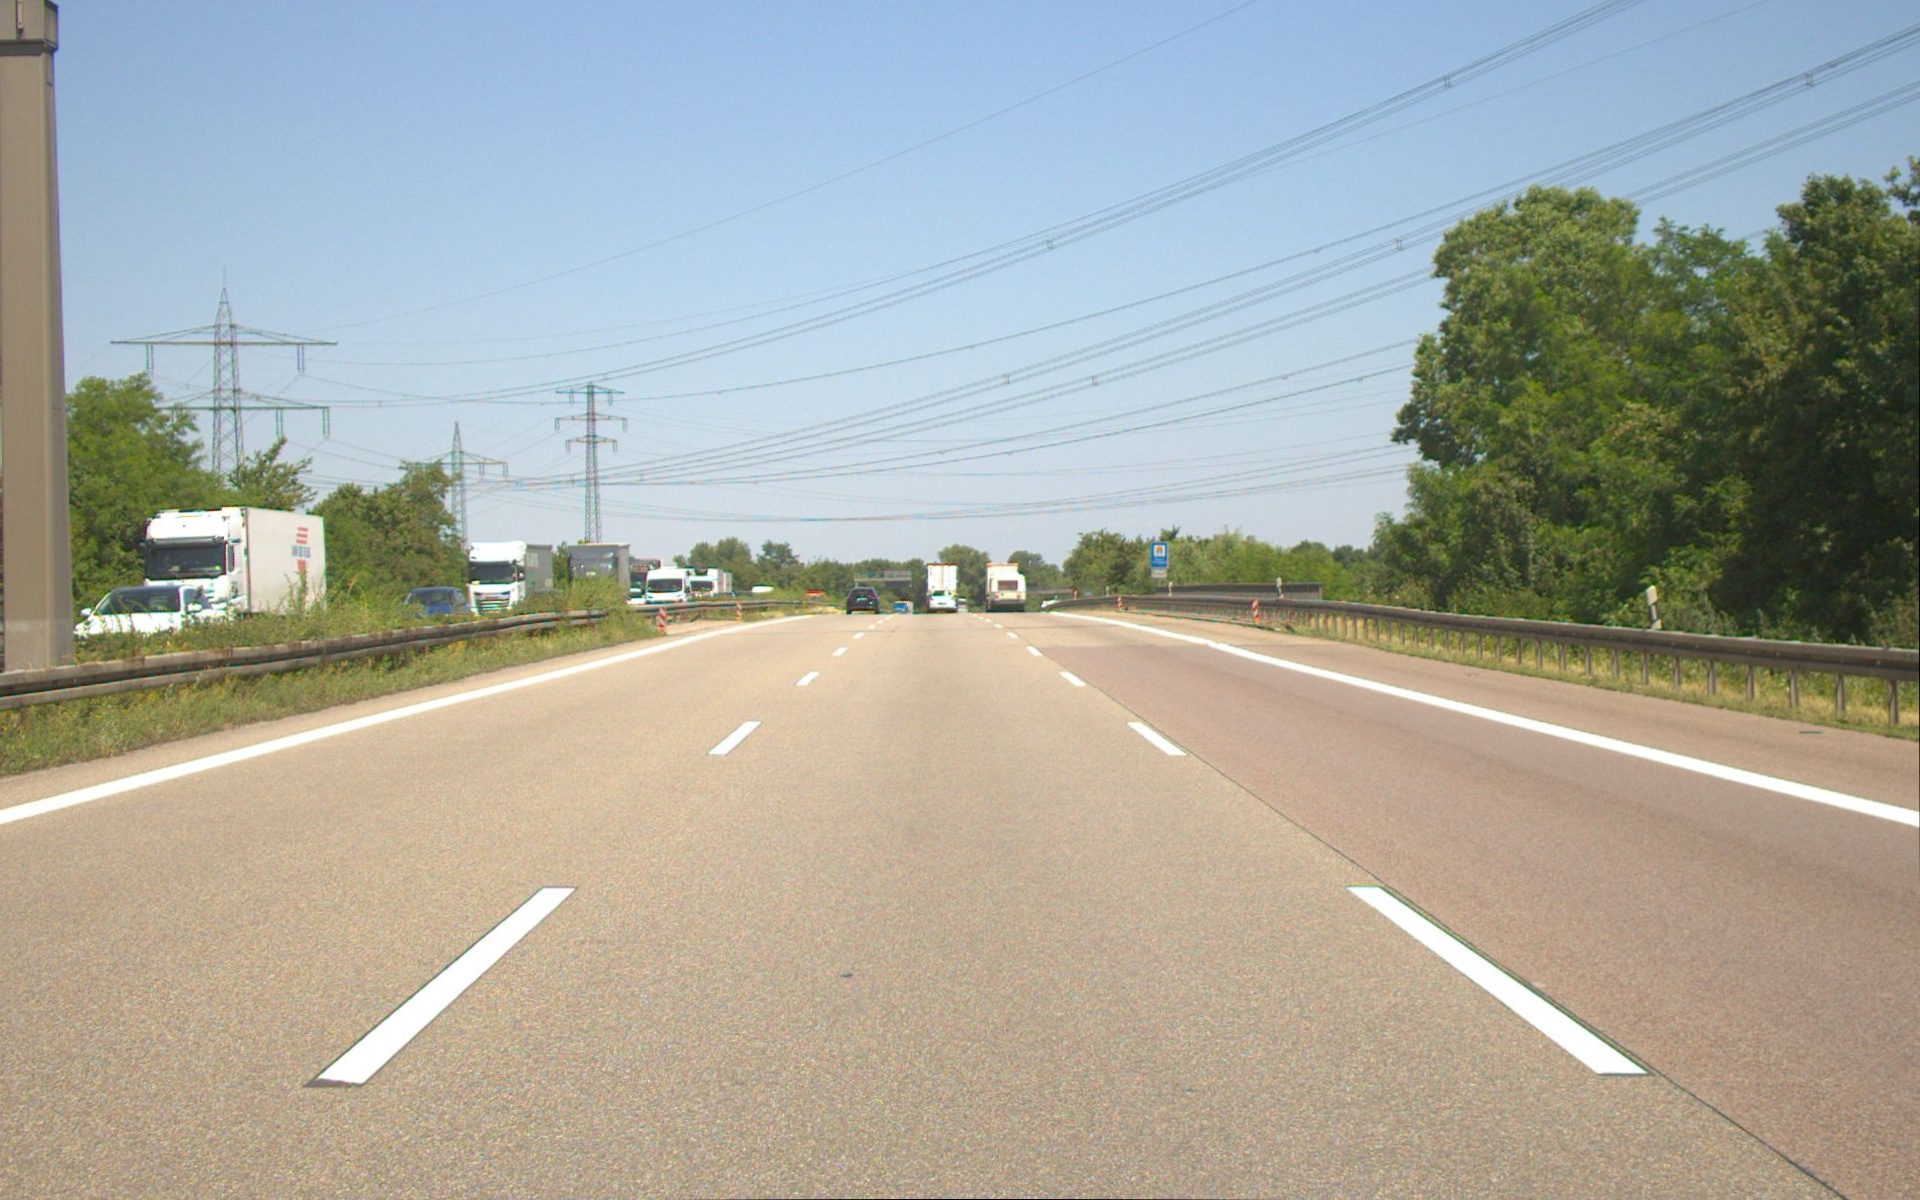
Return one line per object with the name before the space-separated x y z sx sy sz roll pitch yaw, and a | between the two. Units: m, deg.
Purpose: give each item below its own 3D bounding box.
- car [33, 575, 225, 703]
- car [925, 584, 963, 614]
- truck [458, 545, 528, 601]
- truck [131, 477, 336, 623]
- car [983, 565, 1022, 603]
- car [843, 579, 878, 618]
car | -13.873 0.616 57.671 1.993 2.007 4.699 -1 1 1
car | -1.039 -0.070 226.102 2.177 1.923 4.611 -1 1 3
truck | -21.592 -1.276 159.440 2.499 2.456 12.295 -1 1 -4
truck | -22.053 -1.506 105.508 2.961 4.077 17.029 -1 1 -1
car | 2.302 -0.867 188.598 1.993 2.007 4.000 -1 1 -1
car | -5.386 -0.090 187.020 1.791 2.007 3.888 0 1 0
